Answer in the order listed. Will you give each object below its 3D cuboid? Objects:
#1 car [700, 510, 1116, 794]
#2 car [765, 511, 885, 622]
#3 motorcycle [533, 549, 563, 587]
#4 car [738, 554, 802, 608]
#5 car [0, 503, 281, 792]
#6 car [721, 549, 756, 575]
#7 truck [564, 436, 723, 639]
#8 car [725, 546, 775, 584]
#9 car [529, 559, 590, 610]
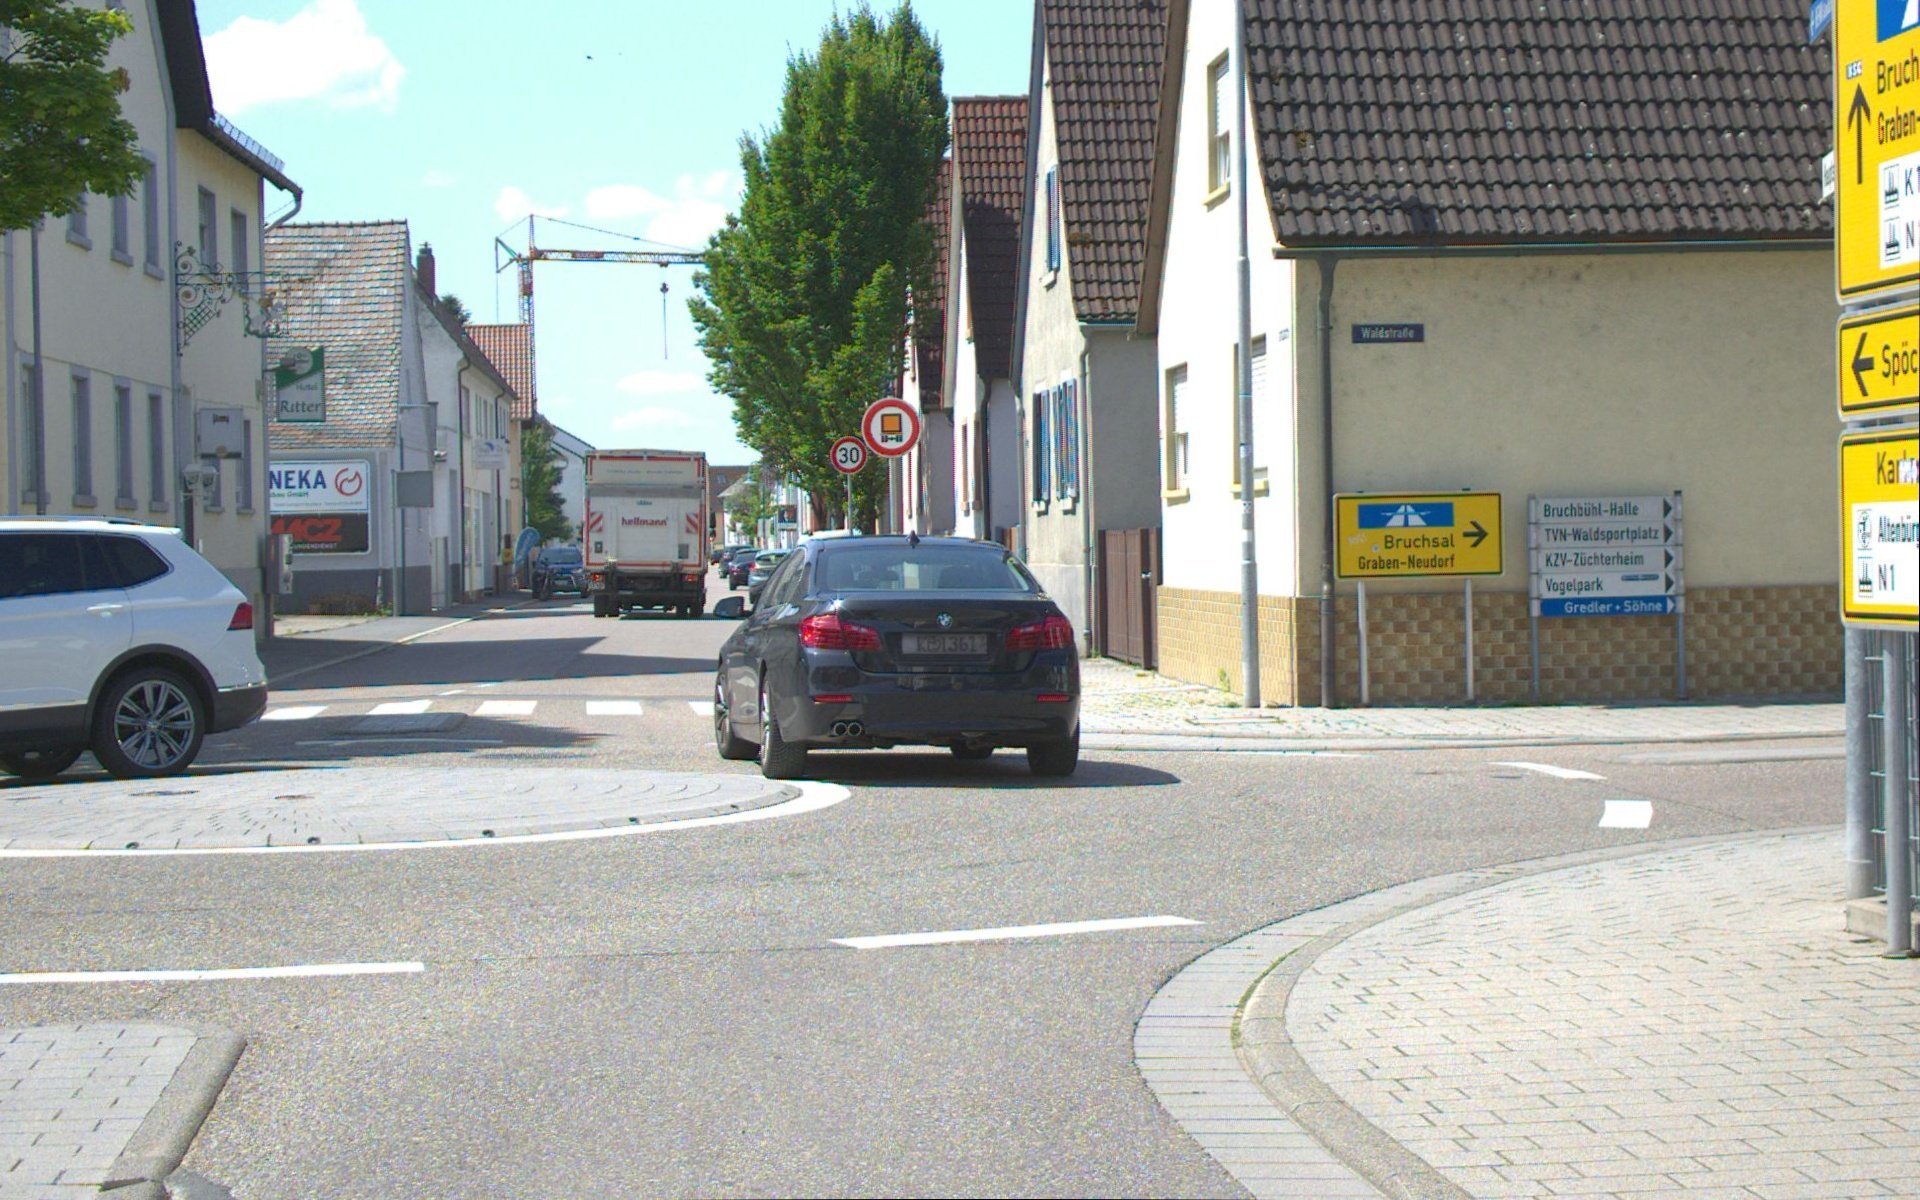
[{"bbox_3d":[-0.451,0.315,21.431,1.901,1.558,4.477,-1,-1,-10],"label":"car"},{"bbox_3d":[-2.373,-0.594,59.624,1.719,1.784,4.145,-3,1,-6],"label":"car"},{"bbox_3d":[-12.722,-0.981,106.187,0.846,1.166,2.470,1,0,-6],"label":"motorcycle"},{"bbox_3d":[-5.304,-0.547,96.251,1.719,1.456,4.157,-1,1,-3],"label":"car"},{"bbox_3d":[-6.635,0.299,20.962,4.529,1.704,1.871,-2,2,-41],"label":"car"},{"bbox_3d":[-11.172,-1.912,173.458,1.719,1.264,4.157,-1,1,-4],"label":"car"},{"bbox_3d":[-6.968,-1.355,76.874,3.144,4.236,9.303,1,0,-3],"label":"truck"},{"bbox_3d":[-7.623,-1.284,124.623,1.719,1.350,4.157,-1,1,-4],"label":"car"},{"bbox_3d":[-12.808,-0.505,110.019,1.809,1.583,4.001,-1,1,-5],"label":"car"}]
